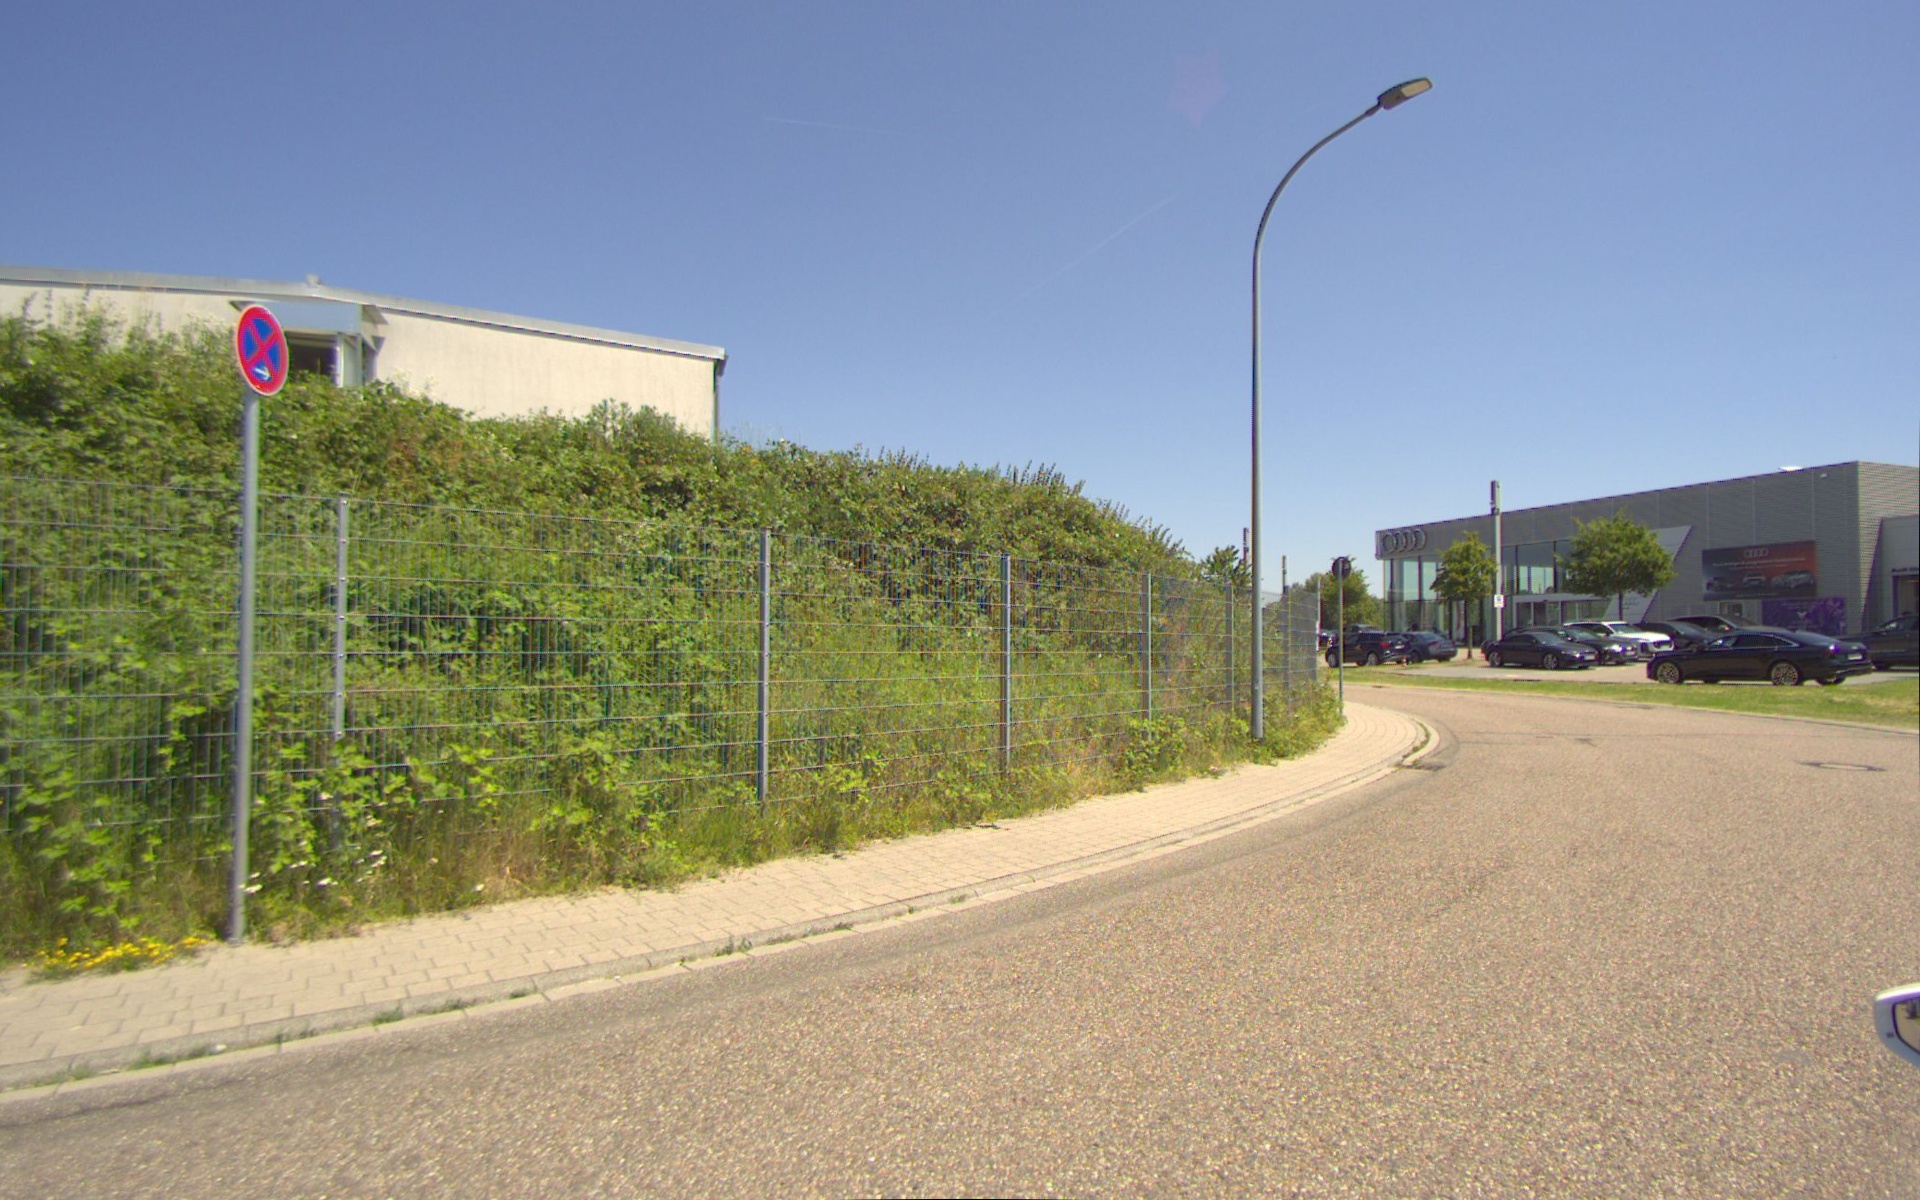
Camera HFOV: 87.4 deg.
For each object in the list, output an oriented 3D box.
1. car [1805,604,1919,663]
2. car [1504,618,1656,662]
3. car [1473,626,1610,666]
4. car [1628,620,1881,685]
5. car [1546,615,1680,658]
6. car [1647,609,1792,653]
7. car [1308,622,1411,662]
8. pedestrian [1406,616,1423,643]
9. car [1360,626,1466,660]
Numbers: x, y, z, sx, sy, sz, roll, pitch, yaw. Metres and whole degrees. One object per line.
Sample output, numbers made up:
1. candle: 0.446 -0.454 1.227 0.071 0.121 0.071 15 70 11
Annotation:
1. car: 27.752 0.985 29.082 1.802 1.665 4.765 1 -2 -20
2. car: 24.414 1.587 39.806 1.938 1.573 4.984 -1 -2 -20
3. car: 22.071 1.702 38.345 1.938 1.393 4.292 -1 -1 -20
4. car: 20.729 1.333 26.530 1.856 1.474 5.002 -1 -1 -20
5. car: 26.549 1.492 41.014 1.938 1.634 4.270 -1 -2 -20
6. car: 32.689 1.342 43.414 1.938 1.762 4.708 -1 -2 -20
7. car: 17.458 1.827 44.121 1.864 1.592 4.209 -2 -1 -20
8. pedestrian: 30.436 1.983 67.267 0.760 1.799 0.743 0 -2 -14
9. car: 20.206 1.907 45.001 1.938 1.384 4.209 -2 -1 -20
